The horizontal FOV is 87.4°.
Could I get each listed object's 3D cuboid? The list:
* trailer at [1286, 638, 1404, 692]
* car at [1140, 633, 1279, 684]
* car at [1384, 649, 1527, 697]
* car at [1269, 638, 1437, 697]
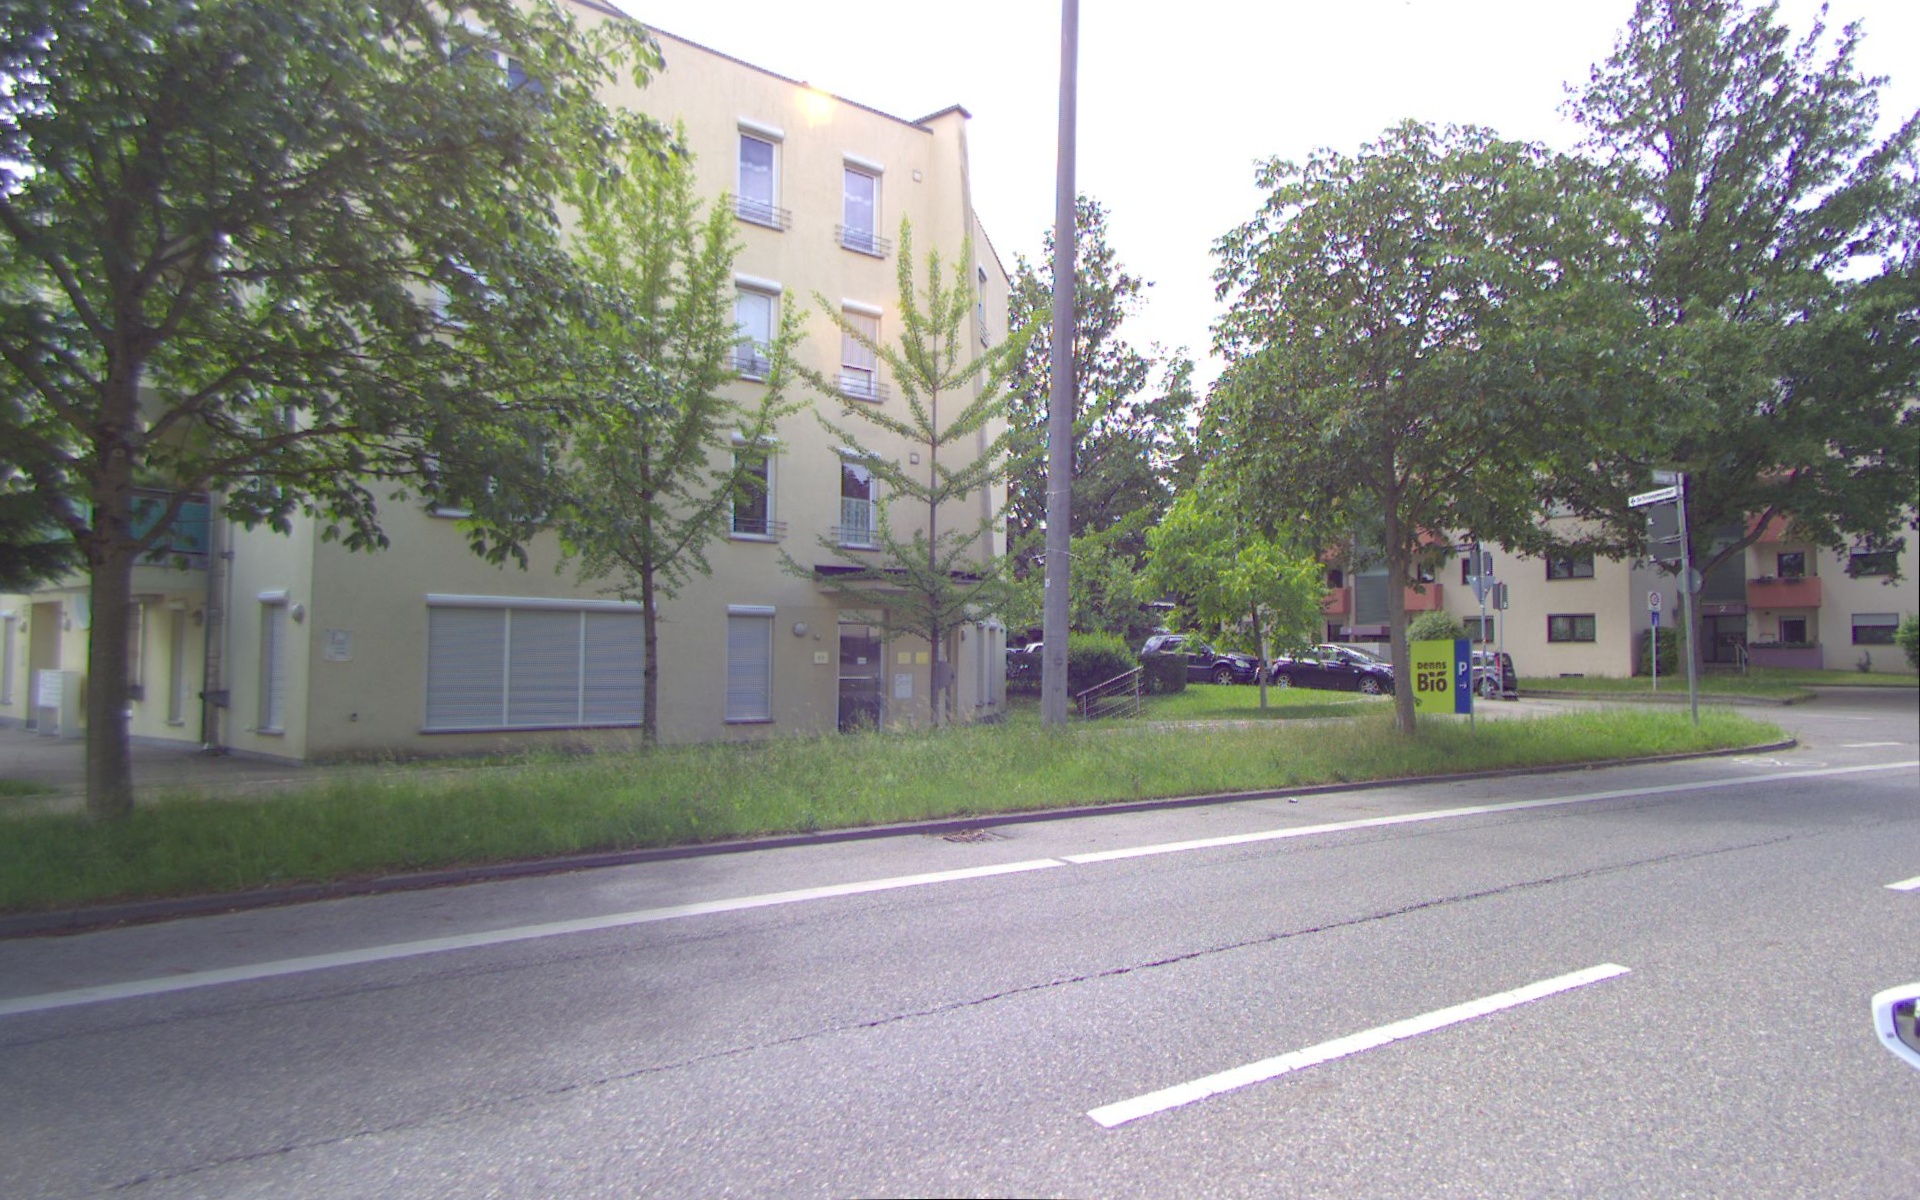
[{"bbox_3d":[14.593,2.456,38.228,1.617,1.821,3.876,7,-5,-38],"label":"trailer"},{"bbox_3d":[7.977,1.872,32.419,1.883,1.543,4.146,2,-4,-36],"label":"car"},{"bbox_3d":[17.069,2.510,34.742,1.779,1.417,4.049,6,-5,-36],"label":"car"},{"bbox_3d":[10.954,1.865,28.225,1.779,1.417,4.049,6,-5,-36],"label":"car"}]
